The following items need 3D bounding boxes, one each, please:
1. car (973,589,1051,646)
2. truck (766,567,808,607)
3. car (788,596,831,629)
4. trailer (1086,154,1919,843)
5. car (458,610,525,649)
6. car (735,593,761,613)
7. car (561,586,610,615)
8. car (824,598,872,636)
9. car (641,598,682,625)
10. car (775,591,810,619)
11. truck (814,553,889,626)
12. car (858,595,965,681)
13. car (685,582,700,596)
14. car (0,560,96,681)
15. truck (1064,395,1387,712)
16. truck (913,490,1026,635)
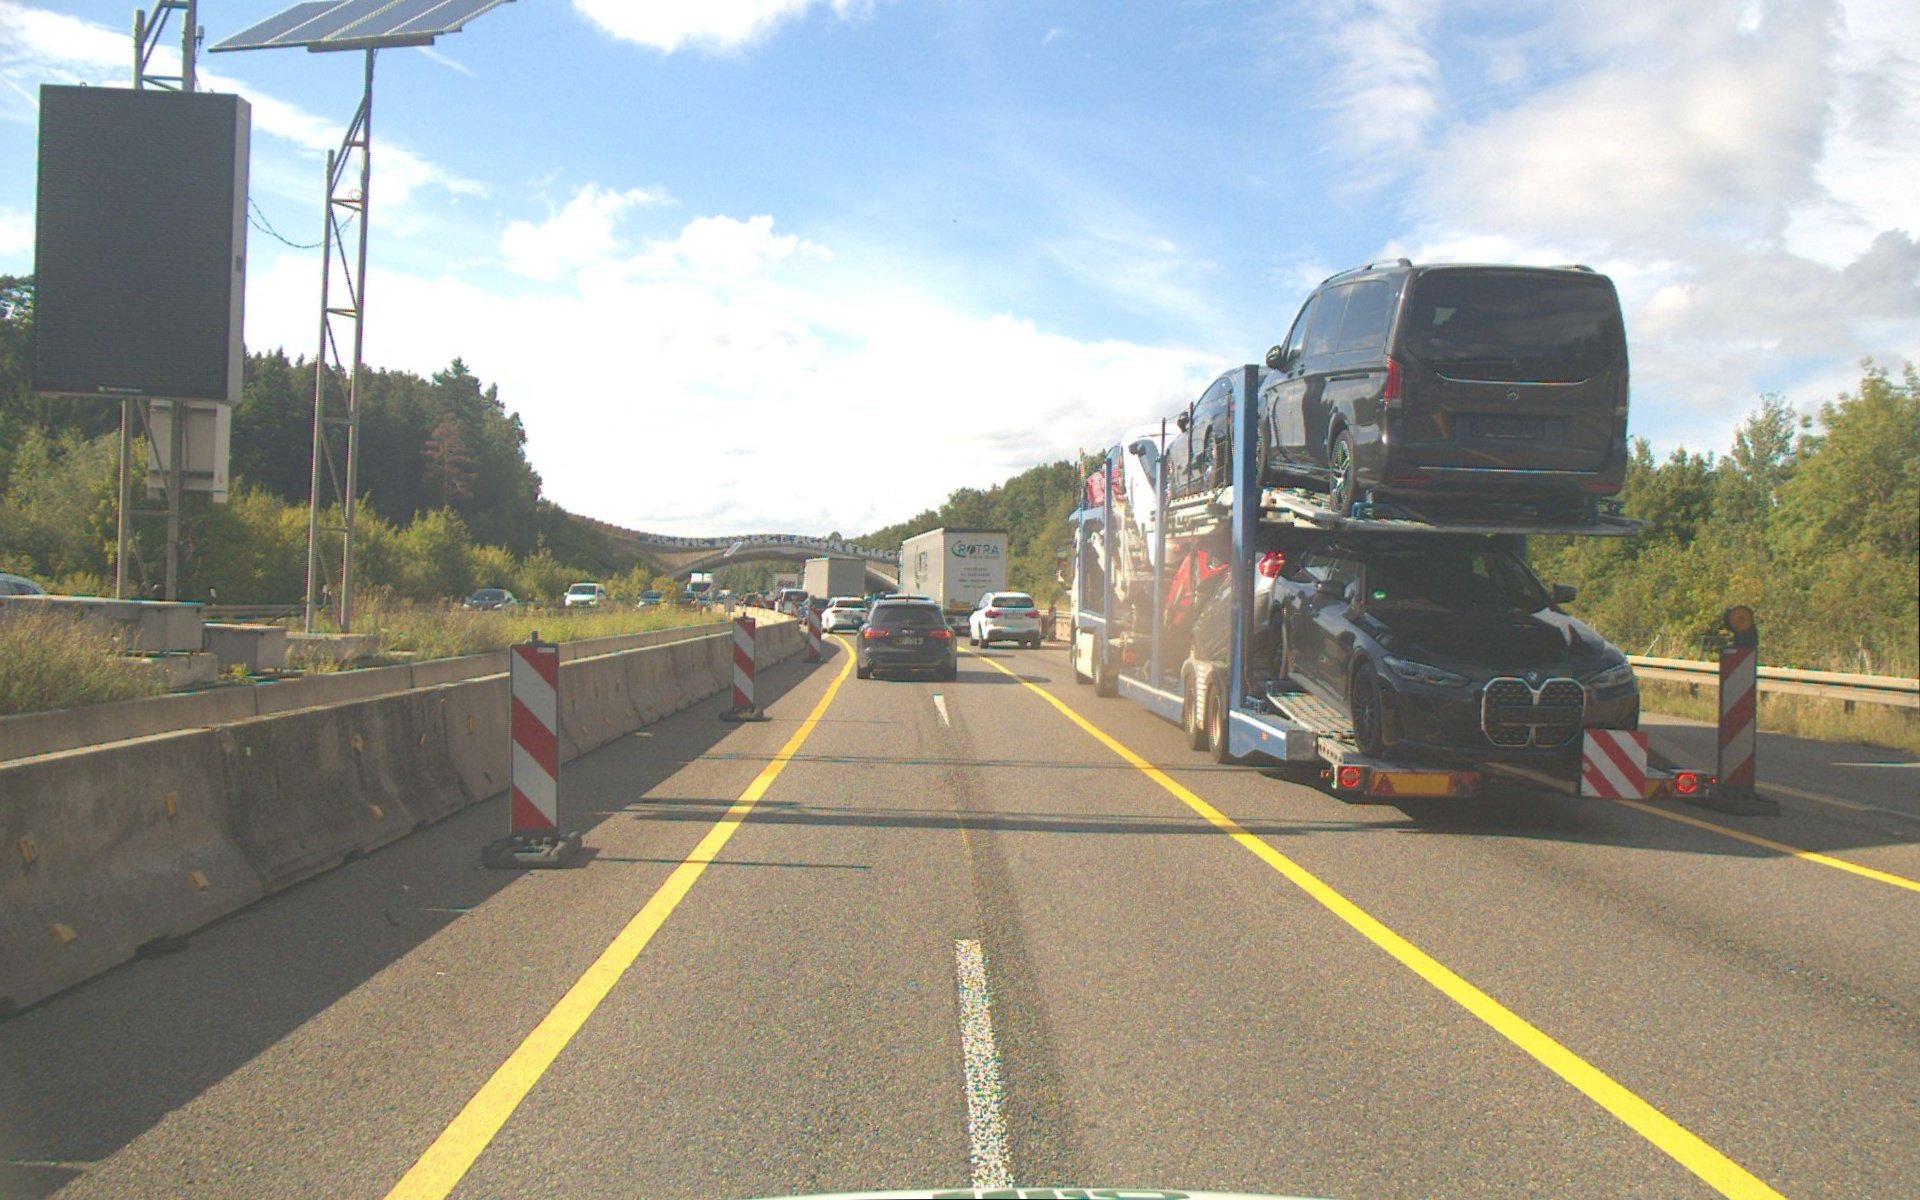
[{"bbox_3d":[1.550,0.515,50.772,1.854,1.672,4.013,1,0,-6],"label":"car"},{"bbox_3d":[-18.080,-1.328,172.380,3.587,3.997,11.042,1,0,-10],"label":"truck"},{"bbox_3d":[-7.886,0.637,86.228,1.856,1.672,4.007,1,0,-11],"label":"car"},{"bbox_3d":[4.070,-0.632,18.541,3.651,4.269,16.222,1,0,-1],"label":"trailer"},{"bbox_3d":[-20.559,1.267,72.725,1.742,1.630,4.674,1,0,-2],"label":"car"},{"bbox_3d":[-17.766,0.207,138.636,1.747,1.630,4.004,1,0,-13],"label":"car"},{"bbox_3d":[-22.202,0.038,98.284,1.929,1.630,4.945,1,0,-2],"label":"car"},{"bbox_3d":[-4.565,0.659,67.072,1.853,1.472,3.996,1,0,-5],"label":"car"},{"bbox_3d":[-18.964,0.721,105.225,1.929,1.630,4.945,1,0,-2],"label":"car"},{"bbox_3d":[-10.227,0.285,100.704,1.855,1.672,4.009,1,0,-9],"label":"car"},{"bbox_3d":[-7.631,-0.691,114.380,4.239,4.681,11.103,1,0,-8],"label":"truck"},{"bbox_3d":[-0.948,0.663,30.959,1.852,1.472,3.998,1,0,-3],"label":"car"},{"bbox_3d":[-37.653,-1.503,233.000,1.745,1.899,3.997,1,0,-4],"label":"car"},{"bbox_3d":[-13.801,0.256,22.519,1.742,1.630,4.674,1,0,-2],"label":"car"},{"bbox_3d":[3.900,-0.632,26.651,3.685,4.269,7.948,1,0,-1],"label":"truck"},{"bbox_3d":[0.130,-1.423,70.833,3.605,5.447,16.188,1,0,-4],"label":"truck"}]
